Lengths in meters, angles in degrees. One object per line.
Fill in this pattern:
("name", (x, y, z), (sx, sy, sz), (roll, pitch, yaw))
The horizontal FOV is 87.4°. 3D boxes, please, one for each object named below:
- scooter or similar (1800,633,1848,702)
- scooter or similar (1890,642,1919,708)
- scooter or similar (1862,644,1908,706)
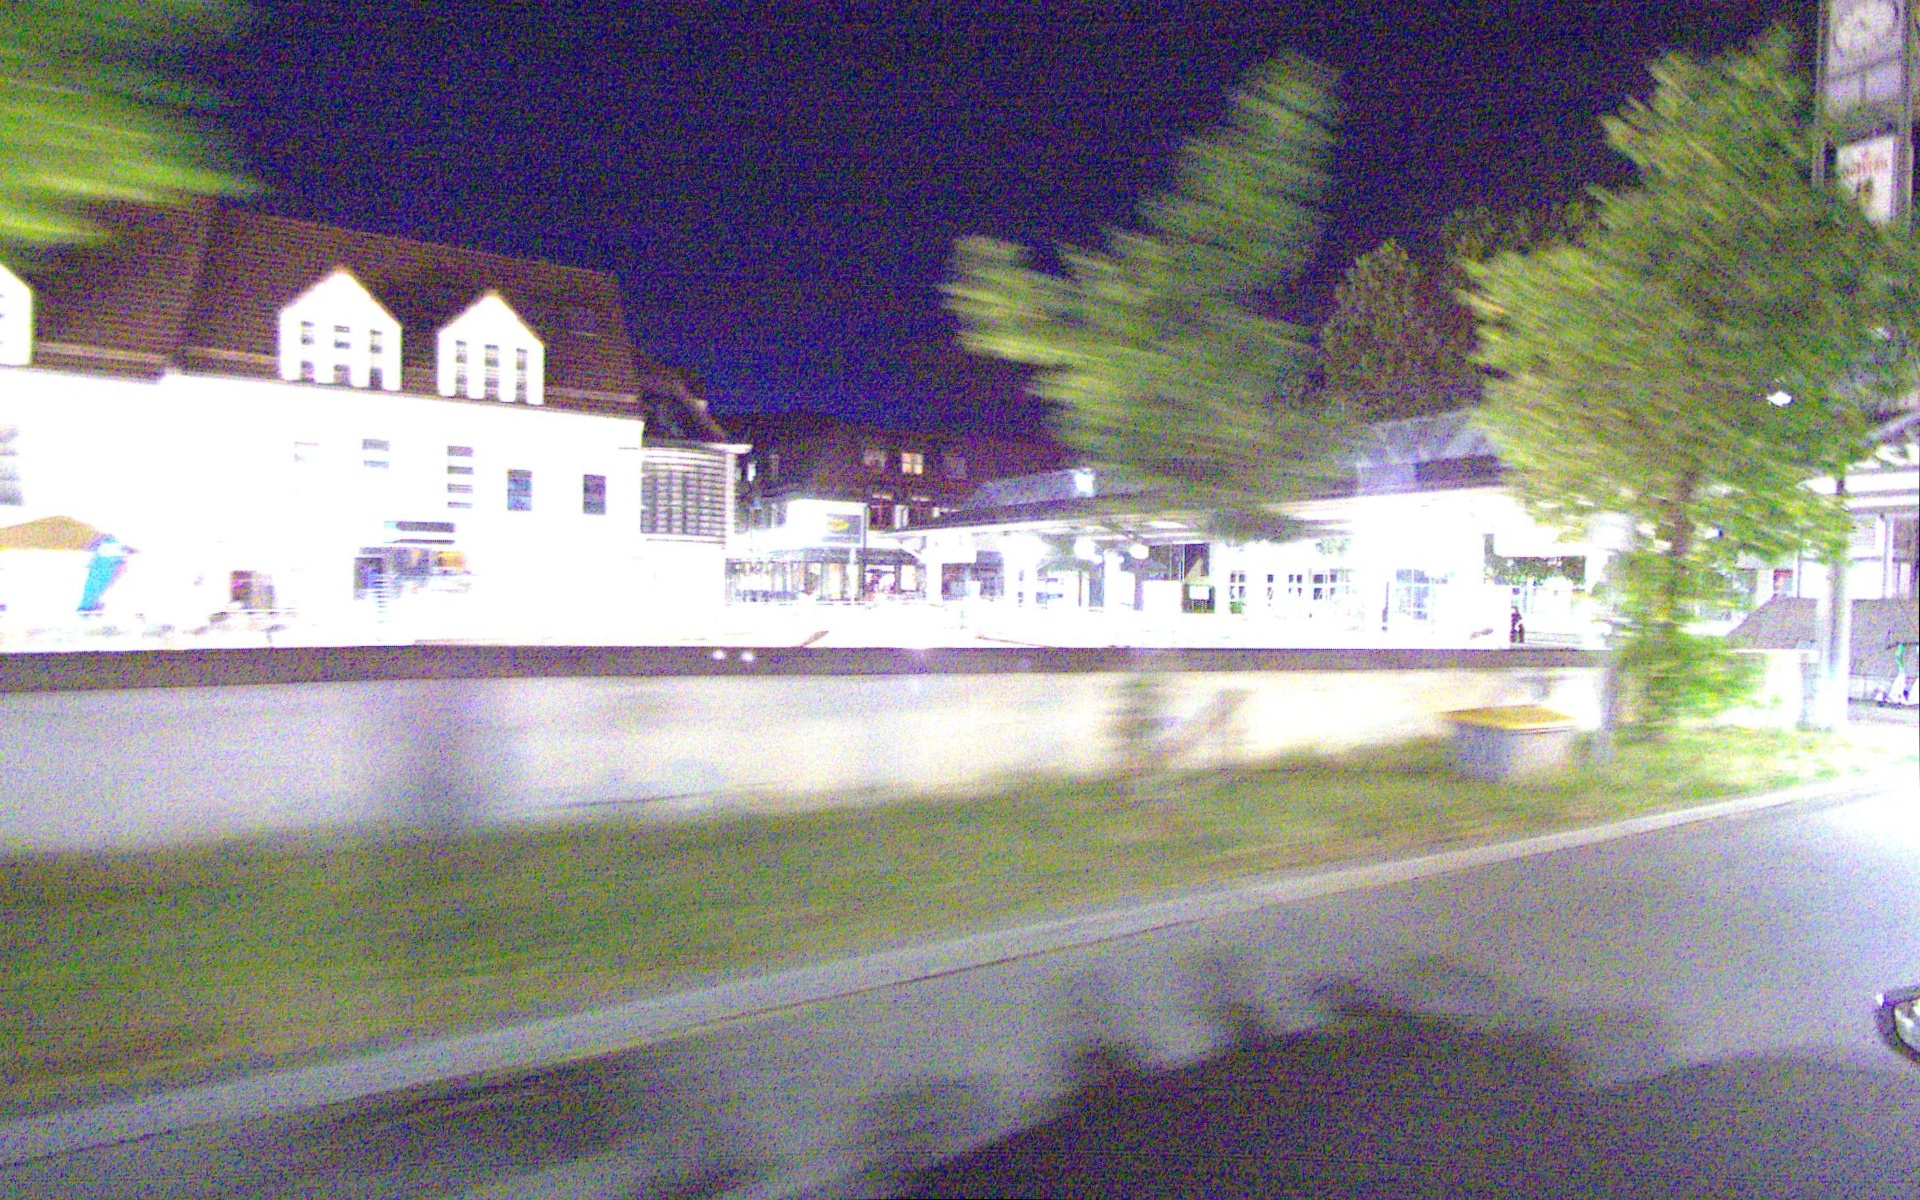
("scooter or similar", (16.982, 1.307, 19.742), (1.135, 1.302, 0.427), (0, 0, -34))
("scooter or similar", (17.701, 1.378, 18.653), (0.993, 1.150, 0.427), (0, 0, -34))
("scooter or similar", (17.517, 1.405, 19.026), (0.993, 1.121, 0.427), (0, 0, -34))
